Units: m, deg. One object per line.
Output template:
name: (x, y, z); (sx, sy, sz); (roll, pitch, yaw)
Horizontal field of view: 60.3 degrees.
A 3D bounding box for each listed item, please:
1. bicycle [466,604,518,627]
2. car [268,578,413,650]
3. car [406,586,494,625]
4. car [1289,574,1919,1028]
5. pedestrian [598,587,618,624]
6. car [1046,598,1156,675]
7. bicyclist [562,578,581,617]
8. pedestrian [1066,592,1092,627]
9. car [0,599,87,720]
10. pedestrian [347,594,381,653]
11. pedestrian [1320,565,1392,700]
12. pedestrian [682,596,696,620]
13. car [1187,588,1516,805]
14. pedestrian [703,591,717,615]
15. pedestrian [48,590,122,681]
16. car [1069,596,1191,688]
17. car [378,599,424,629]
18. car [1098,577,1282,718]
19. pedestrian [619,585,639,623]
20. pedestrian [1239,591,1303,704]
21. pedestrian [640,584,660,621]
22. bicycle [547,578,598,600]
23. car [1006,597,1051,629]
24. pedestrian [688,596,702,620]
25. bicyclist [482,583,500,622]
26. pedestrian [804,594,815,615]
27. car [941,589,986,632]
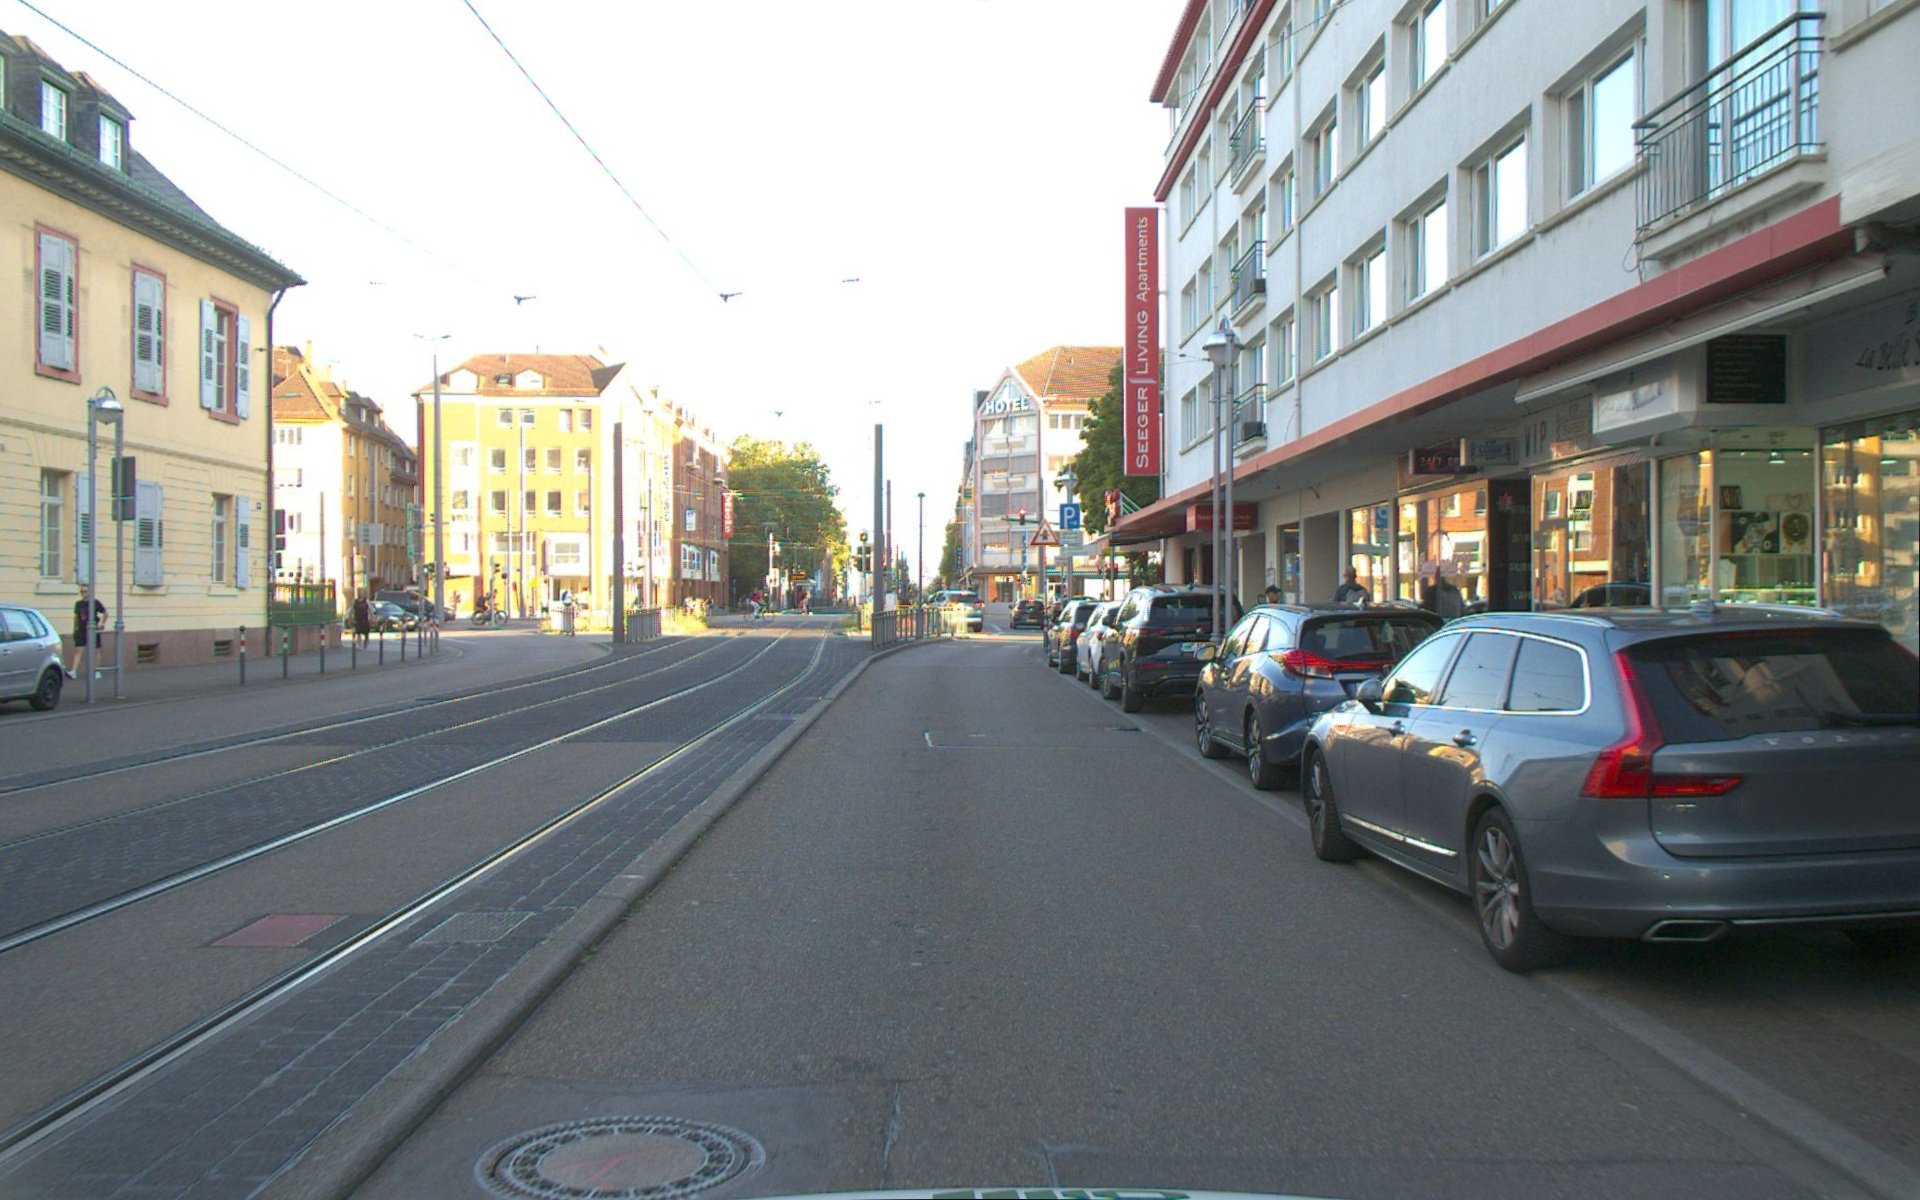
bicycle: (-24.822, 0.827, 87.804); (2.602, 1.119, 0.433); (2, -1, -21)
car: (-18.499, 0.400, 49.600); (3.924, 2.049, 1.990); (0, 0, -17)
car: (-28.035, 0.276, 91.027); (4.482, 2.072, 1.993); (0, 0, -13)
car: (3.085, 0.726, 8.218); (1.755, 1.560, 4.855); (2, 0, -2)
pedestrian: (-13.345, 0.198, 62.718); (0.650, 1.399, 0.651); (0, 0, -4)
car: (2.855, 0.728, 34.360); (1.754, 1.437, 4.686); (2, 0, -1)
bicyclist: (-20.737, -0.120, 88.332); (0.848, 2.049, 0.642); (2, -1, -22)
pedestrian: (5.960, 0.491, 82.773); (0.814, 1.714, 1.039); (2, -1, -28)
car: (-13.186, 0.770, 21.369); (1.713, 1.500, 3.999); (2, 0, -1)
pedestrian: (-16.104, 0.625, 44.680); (0.705, 1.563, 0.718); (-1, 0, -5)
pedestrian: (5.745, 0.459, 24.021); (0.759, 1.913, 0.934); (-1, -1, -3)
pedestrian: (-23.102, 0.672, 140.994); (1.071, 2.049, 0.908); (2, -1, -4)
car: (3.181, 0.697, 14.343); (1.745, 1.549, 4.356); (2, 0, -1)
pedestrian: (-21.939, 0.288, 145.319); (1.071, 2.049, 1.162); (2, -1, -3)
pedestrian: (-15.486, 0.622, 29.288); (0.783, 1.569, 0.877); (1, -1, 1)
car: (2.897, 0.695, 28.961); (1.618, 1.445, 4.190); (2, 0, -1)
car: (-26.915, 0.671, 79.544); (1.743, 1.400, 4.191); (0, 0, -24)
car: (3.081, 0.612, 23.057); (1.818, 1.730, 4.416); (2, 0, -1)
pedestrian: (-12.571, 0.150, 62.878); (0.650, 1.399, 0.651); (0, 0, -4)
pedestrian: (4.499, 0.675, 23.957); (0.718, 1.601, 0.966); (0, 0, -2)
pedestrian: (-11.833, 0.111, 63.098); (0.650, 1.399, 0.651); (0, 0, -4)
bicycle: (-20.714, -0.583, 88.341); (2.602, 1.119, 0.433); (2, -1, -21)
car: (3.224, 0.615, 78.539); (1.729, 1.465, 3.997); (0, 0, -3)
pedestrian: (-22.799, 0.690, 142.416); (1.071, 2.049, 0.908); (2, -1, -4)
bicyclist: (-24.891, 0.143, 87.805); (0.848, 2.049, 0.643); (2, -1, -21)
pedestrian: (-12.491, 0.375, 137.709); (0.788, 1.693, 0.703); (1, -1, 2)
car: (0.142, 0.459, 69.306); (1.797, 1.665, 4.090); (-1, -1, 0)
